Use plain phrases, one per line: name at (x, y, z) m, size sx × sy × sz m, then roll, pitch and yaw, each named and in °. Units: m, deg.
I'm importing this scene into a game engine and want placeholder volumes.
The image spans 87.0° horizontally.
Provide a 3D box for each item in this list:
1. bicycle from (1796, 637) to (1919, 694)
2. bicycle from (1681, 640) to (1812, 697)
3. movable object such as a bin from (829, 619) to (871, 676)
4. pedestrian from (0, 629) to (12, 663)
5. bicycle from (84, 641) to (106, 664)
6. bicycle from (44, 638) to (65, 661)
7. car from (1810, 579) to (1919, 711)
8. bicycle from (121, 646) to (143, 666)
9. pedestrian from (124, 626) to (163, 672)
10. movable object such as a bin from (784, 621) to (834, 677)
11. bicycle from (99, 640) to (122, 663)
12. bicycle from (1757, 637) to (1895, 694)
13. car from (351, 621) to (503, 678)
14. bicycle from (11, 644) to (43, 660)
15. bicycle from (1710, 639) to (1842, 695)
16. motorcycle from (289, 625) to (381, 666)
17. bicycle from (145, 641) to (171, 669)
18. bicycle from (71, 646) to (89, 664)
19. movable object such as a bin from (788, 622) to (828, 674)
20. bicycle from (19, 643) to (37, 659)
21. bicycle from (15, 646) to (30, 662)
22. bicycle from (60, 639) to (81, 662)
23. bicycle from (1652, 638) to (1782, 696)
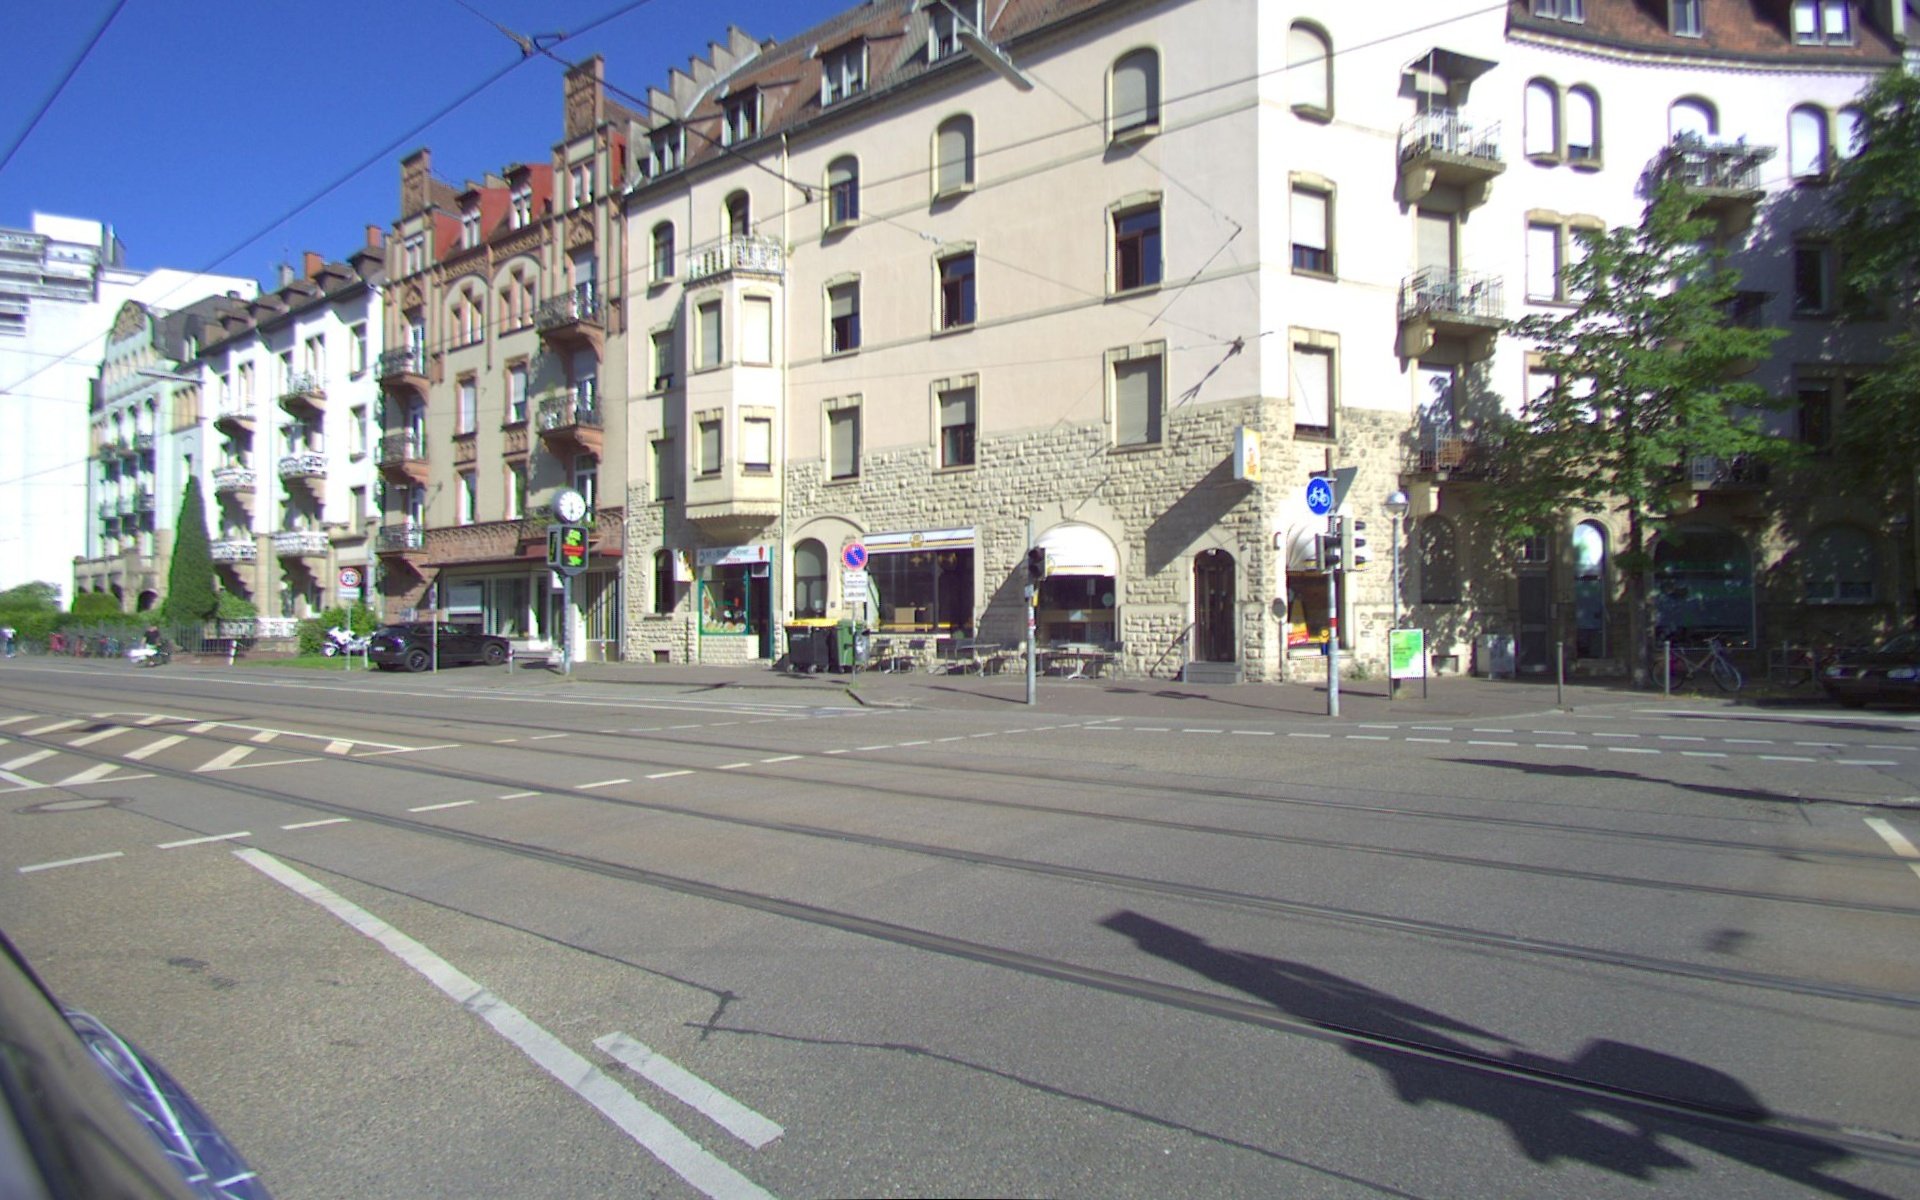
bicycle at (17.788, 1.260, 19.943) m, size 0.600 × 0.988 × 2.044 m, roll -1°, pitch 0°, yaw -16°
bicycle at (15.338, 1.307, 19.804) m, size 0.600 × 0.988 × 2.044 m, roll -1°, pitch 0°, yaw -16°
movable object such as a bin at (-2.803, 1.198, 25.775) m, size 1.011 × 1.391 × 0.859 m, roll -1°, pitch 0°, yaw -8°
pedestrian at (-46.674, 2.241, 49.426) m, size 0.658 × 1.641 × 0.470 m, roll -1°, pitch -1°, yaw 37°
bicycle at (-38.304, 2.323, 44.819) m, size 1.646 × 0.949 × 0.400 m, roll -1°, pitch 0°, yaw 37°
bicycle at (-43.102, 2.345, 48.149) m, size 1.813 × 1.031 × 0.400 m, roll -1°, pitch 0°, yaw 37°
car at (16.392, 0.685, 16.776) m, size 3.930 × 2.029 × 2.007 m, roll -1°, pitch 0°, yaw -25°
bicycle at (-34.065, 2.300, 41.633) m, size 1.649 × 0.767 × 0.314 m, roll -1°, pitch 0°, yaw 37°
pedestrian at (-30.856, 1.834, 38.247) m, size 0.869 × 1.640 × 0.859 m, roll -1°, pitch 4°, yaw 37°
movable object such as a bin at (-3.886, 1.249, 26.109) m, size 0.844 × 1.391 × 1.029 m, roll 0°, pitch -1°, yaw -42°
bicycle at (-36.647, 2.214, 43.646) m, size 1.746 × 0.949 × 0.400 m, roll -1°, pitch 0°, yaw 37°
bicycle at (16.941, 1.252, 19.864) m, size 0.600 × 0.988 × 2.044 m, roll -1°, pitch 0°, yaw -16°
car at (-17.002, 1.528, 32.459) m, size 1.765 × 1.514 × 3.960 m, roll -1°, pitch 2°, yaw 30°
bicycle at (-49.939, 2.797, 54.185) m, size 0.297 × 0.799 × 1.247 m, roll -1°, pitch 0°, yaw 37°
bicycle at (16.082, 1.298, 20.012) m, size 0.600 × 0.988 × 2.044 m, roll -1°, pitch 0°, yaw -16°
motorcycle at (-24.696, 1.779, 40.076) m, size 0.821 × 1.467 × 3.059 m, roll -1°, pitch 0°, yaw 34°
bicycle at (-32.117, 2.194, 40.519) m, size 1.746 × 1.047 × 0.400 m, roll -1°, pitch 0°, yaw 37°
bicycle at (-39.802, 2.473, 45.791) m, size 1.540 × 0.767 × 0.314 m, roll -1°, pitch 0°, yaw 37°
movable object such as a bin at (-4.058, 1.274, 27.031) m, size 0.844 × 1.335 × 0.658 m, roll 0°, pitch -1°, yaw -42°
bicycle at (-46.703, 2.536, 50.702) m, size 1.579 × 0.767 × 0.400 m, roll -1°, pitch 0°, yaw 37°
bicycle at (-47.879, 2.751, 51.685) m, size 1.261 × 0.767 × 0.335 m, roll -1°, pitch 0°, yaw 37°
bicycle at (-41.187, 2.321, 46.859) m, size 1.813 × 1.031 × 0.400 m, roll -1°, pitch 0°, yaw 37°
bicycle at (14.587, 1.271, 19.576) m, size 0.600 × 0.988 × 2.044 m, roll -1°, pitch 0°, yaw -16°
